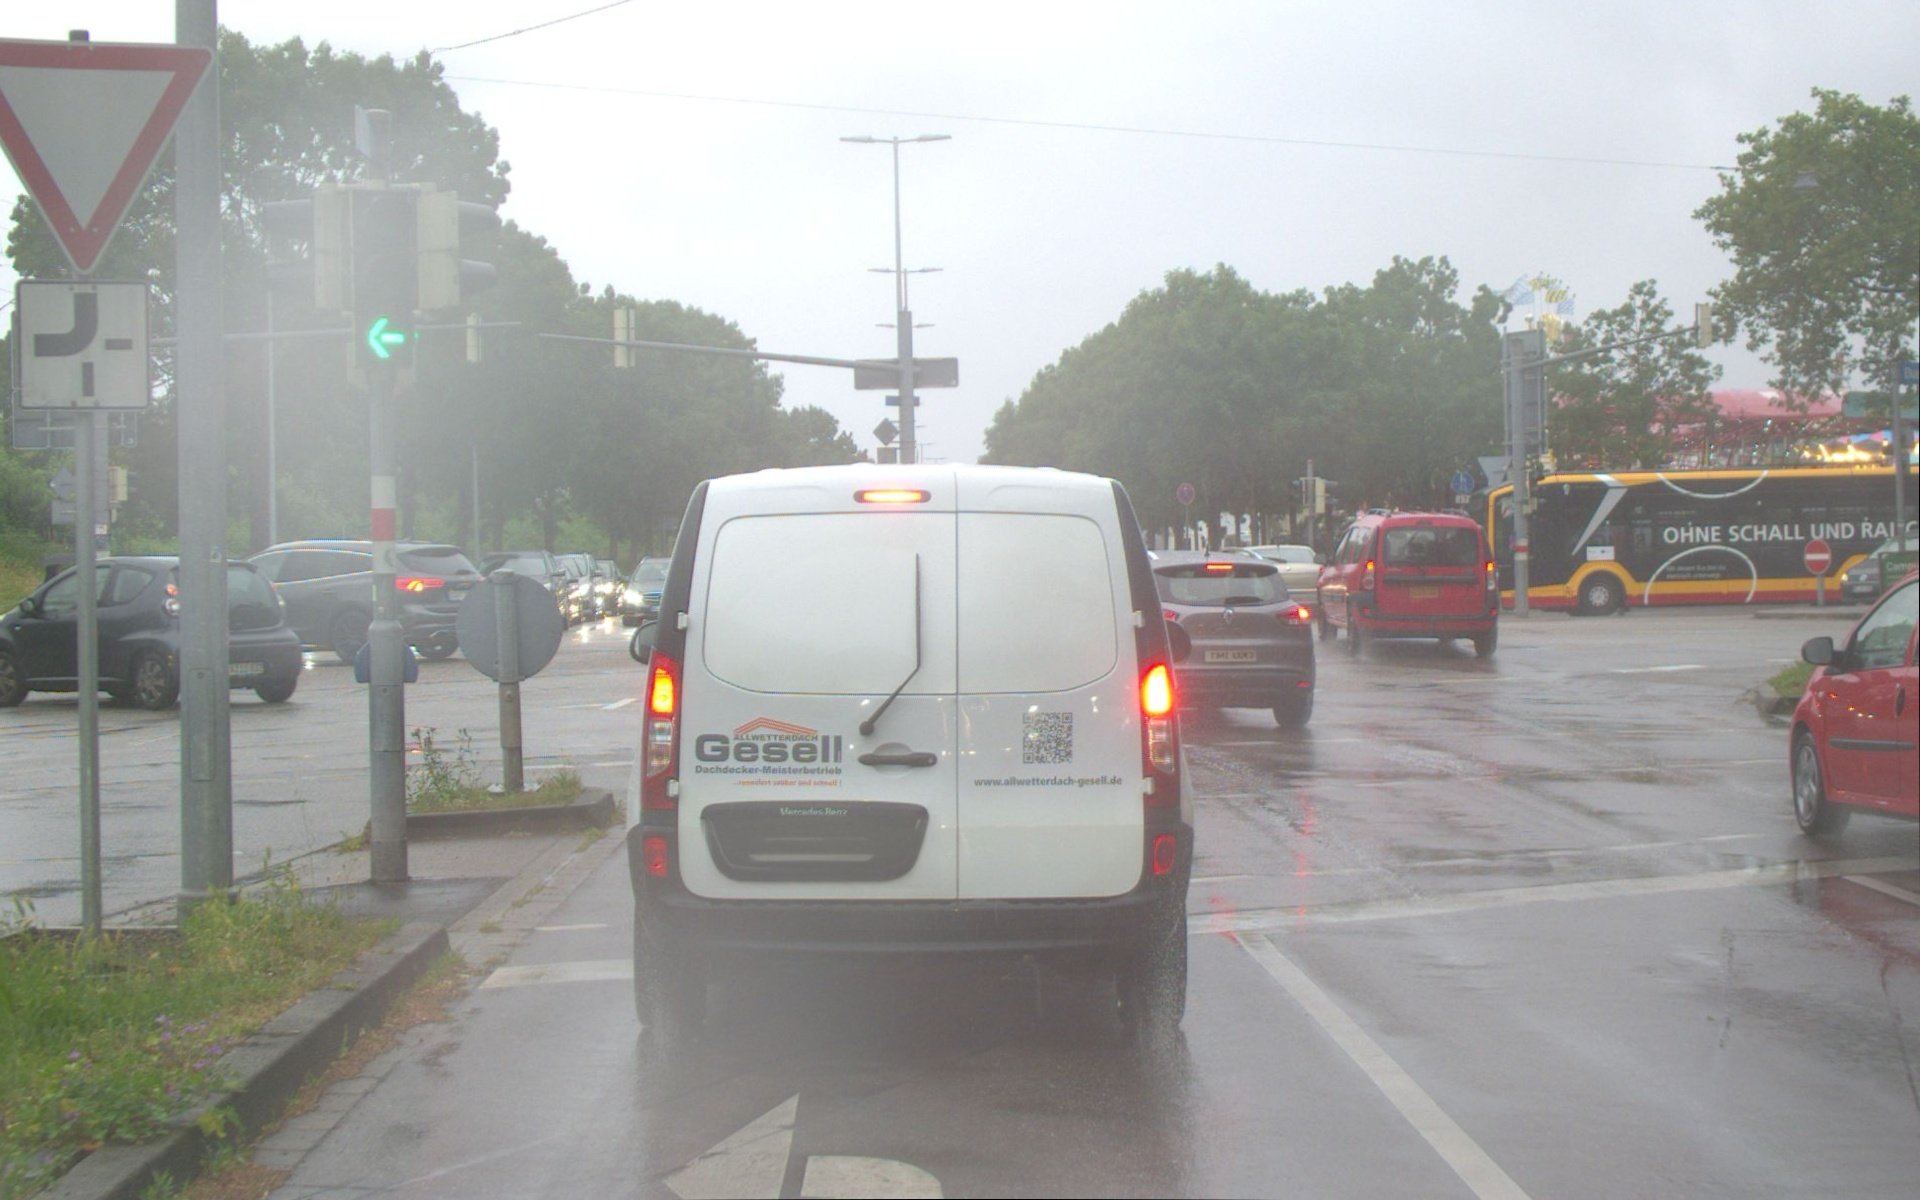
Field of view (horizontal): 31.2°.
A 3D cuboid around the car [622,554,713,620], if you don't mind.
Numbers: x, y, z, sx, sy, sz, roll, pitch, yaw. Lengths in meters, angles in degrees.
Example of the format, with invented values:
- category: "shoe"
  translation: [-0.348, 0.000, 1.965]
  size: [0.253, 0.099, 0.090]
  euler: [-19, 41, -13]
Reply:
- category: "car"
  translation: [-6.496, -0.311, 76.124]
  size: [1.826, 1.353, 4.001]
  euler: [-1, 1, -7]

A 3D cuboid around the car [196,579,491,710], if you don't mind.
- category: "car"
  translation: [-7.386, 0.508, 41.134]
  size: [3.351, 1.468, 1.566]
  euler: [0, 2, 36]

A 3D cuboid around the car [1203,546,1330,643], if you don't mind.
- category: "car"
  translation: [5.296, -0.120, 59.806]
  size: [1.842, 1.612, 4.000]
  euler: [1, 1, 0]

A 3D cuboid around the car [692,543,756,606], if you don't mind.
- category: "car"
  translation: [-6.722, -0.750, 98.206]
  size: [1.654, 1.714, 4.000]
  euler: [-1, 1, -2]

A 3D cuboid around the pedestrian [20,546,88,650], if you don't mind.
- category: "pedestrian"
  translation: [-15.232, -0.043, 57.845]
  size: [1.001, 1.713, 0.820]
  euler: [-1, 1, -9]

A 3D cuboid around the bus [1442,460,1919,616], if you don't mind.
- category: "bus"
  translation: [17.345, -1.433, 78.057]
  size: [12.249, 3.257, 3.275]
  euler: [-1, 1, -1]

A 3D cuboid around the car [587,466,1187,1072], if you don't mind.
- category: "car"
  translation: [-0.252, 0.467, 12.187]
  size: [1.756, 1.771, 4.000]
  euler: [-1, 1, -1]

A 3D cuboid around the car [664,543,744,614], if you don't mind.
- category: "car"
  translation: [-6.462, -0.563, 87.017]
  size: [1.864, 1.714, 4.001]
  euler: [-1, 1, -2]

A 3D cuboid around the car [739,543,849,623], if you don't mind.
- category: "car"
  translation: [-3.723, -0.414, 77.861]
  size: [2.169, 1.714, 4.303]
  euler: [-1, 1, 1]

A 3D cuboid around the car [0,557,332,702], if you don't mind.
- category: "car"
  translation: [-7.888, 0.265, 33.353]
  size: [3.454, 1.301, 1.580]
  euler: [0, 2, 37]

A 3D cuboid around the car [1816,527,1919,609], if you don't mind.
- category: "car"
  translation: [20.085, -0.695, 71.890]
  size: [4.329, 1.645, 1.933]
  euler: [-2, 1, -38]

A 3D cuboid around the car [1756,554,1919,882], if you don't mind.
- category: "car"
  translation: [5.188, 0.524, 16.819]
  size: [1.678, 1.486, 3.621]
  euler: [0, 1, -1]

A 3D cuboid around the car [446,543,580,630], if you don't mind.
- category: "car"
  translation: [-9.078, -0.301, 70.169]
  size: [2.022, 1.651, 4.061]
  euler: [-1, 1, 2]

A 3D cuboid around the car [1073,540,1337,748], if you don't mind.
- category: "car"
  translation: [1.982, 0.321, 28.925]
  size: [1.842, 1.612, 4.000]
  euler: [1, 1, -1]

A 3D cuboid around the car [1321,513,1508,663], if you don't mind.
- category: "car"
  translation: [5.260, -0.164, 40.128]
  size: [1.632, 1.650, 3.485]
  euler: [1, 1, -1]
